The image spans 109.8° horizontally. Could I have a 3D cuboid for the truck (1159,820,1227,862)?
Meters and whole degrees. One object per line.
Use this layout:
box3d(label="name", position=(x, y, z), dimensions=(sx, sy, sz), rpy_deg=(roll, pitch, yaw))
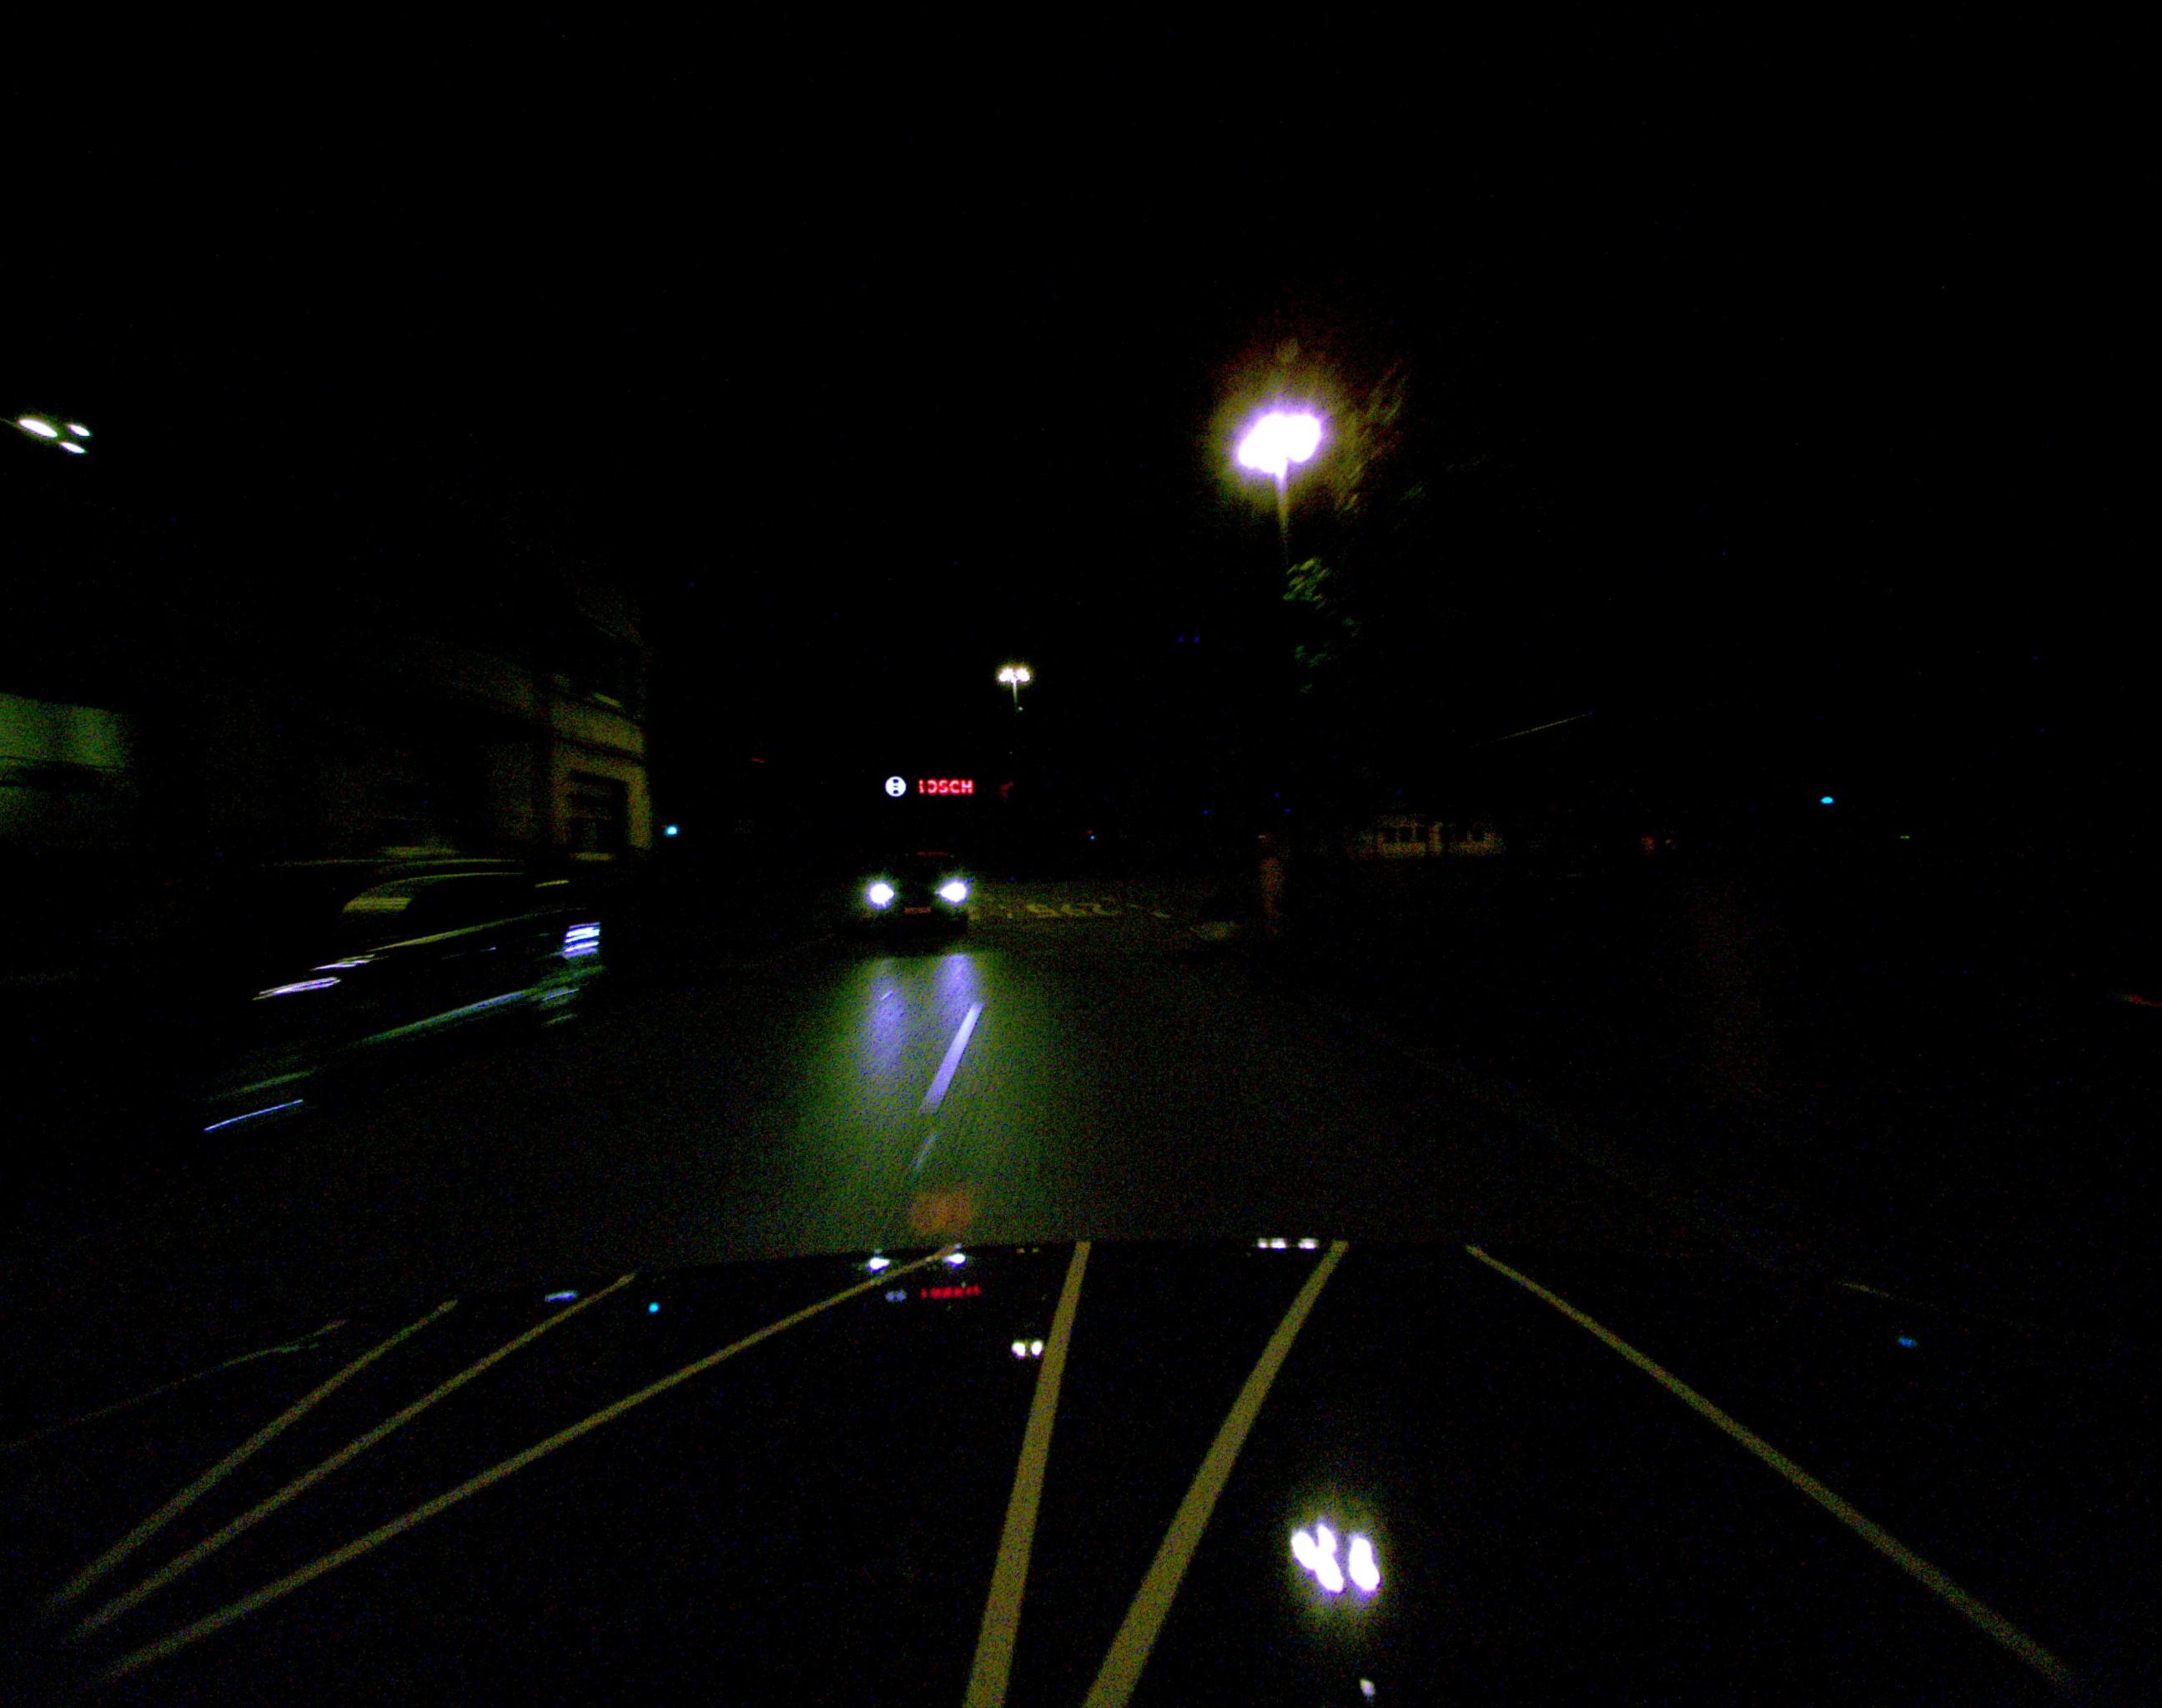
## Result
box3d(label="truck", position=(10.658, -1.232, 72.376), dimensions=(6.197, 3.672, 2.403), rpy_deg=(-2, 1, 11))

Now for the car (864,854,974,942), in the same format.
box3d(label="car", position=(-3.341, 0.820, 16.210), dimensions=(2.000, 1.606, 3.997), rpy_deg=(-1, 0, -9))

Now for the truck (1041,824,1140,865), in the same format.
box3d(label="truck", position=(0.918, -0.878, 74.198), dimensions=(9.342, 3.701, 2.002), rpy_deg=(-2, 1, 14))

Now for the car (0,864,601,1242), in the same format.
box3d(label="car", position=(-5.730, 0.963, 5.645), dimensions=(1.749, 1.673, 4.256), rpy_deg=(0, 1, -3))
